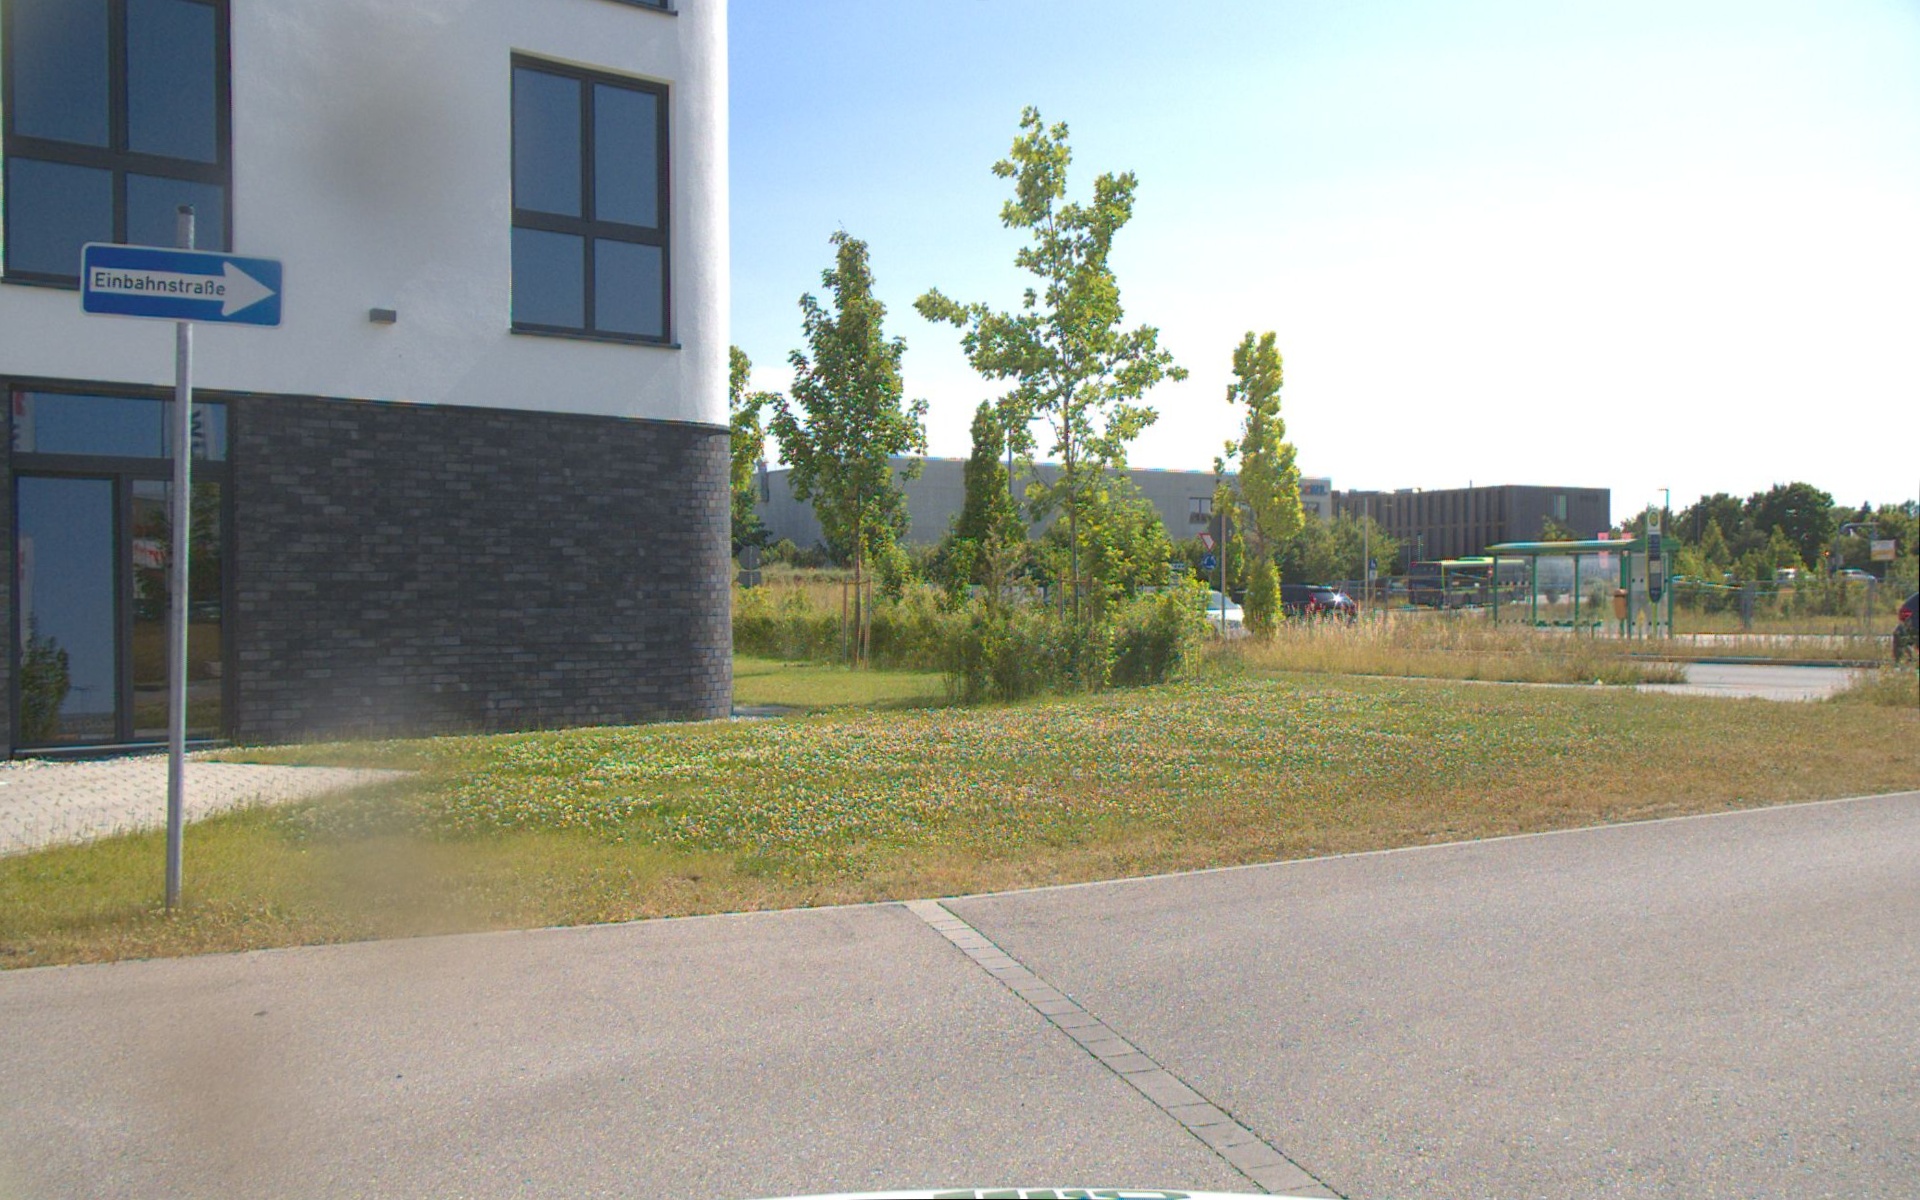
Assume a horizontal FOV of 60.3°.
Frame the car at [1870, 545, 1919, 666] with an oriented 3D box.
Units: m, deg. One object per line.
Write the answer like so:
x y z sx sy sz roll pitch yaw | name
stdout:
14.029 0.090 20.666 1.887 1.578 4.346 0 1 -29 | car

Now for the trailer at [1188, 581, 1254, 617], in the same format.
14.182 -0.070 89.702 1.794 1.892 3.980 1 1 39 | trailer

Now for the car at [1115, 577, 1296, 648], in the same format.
5.707 0.247 38.983 1.719 1.578 4.519 0 1 -32 | car

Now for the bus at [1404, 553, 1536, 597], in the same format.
33.900 -1.662 109.600 11.456 2.783 2.544 -1 1 -39 | bus

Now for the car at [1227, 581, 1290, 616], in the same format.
16.749 -0.084 92.723 1.794 1.892 3.980 1 1 39 | car
